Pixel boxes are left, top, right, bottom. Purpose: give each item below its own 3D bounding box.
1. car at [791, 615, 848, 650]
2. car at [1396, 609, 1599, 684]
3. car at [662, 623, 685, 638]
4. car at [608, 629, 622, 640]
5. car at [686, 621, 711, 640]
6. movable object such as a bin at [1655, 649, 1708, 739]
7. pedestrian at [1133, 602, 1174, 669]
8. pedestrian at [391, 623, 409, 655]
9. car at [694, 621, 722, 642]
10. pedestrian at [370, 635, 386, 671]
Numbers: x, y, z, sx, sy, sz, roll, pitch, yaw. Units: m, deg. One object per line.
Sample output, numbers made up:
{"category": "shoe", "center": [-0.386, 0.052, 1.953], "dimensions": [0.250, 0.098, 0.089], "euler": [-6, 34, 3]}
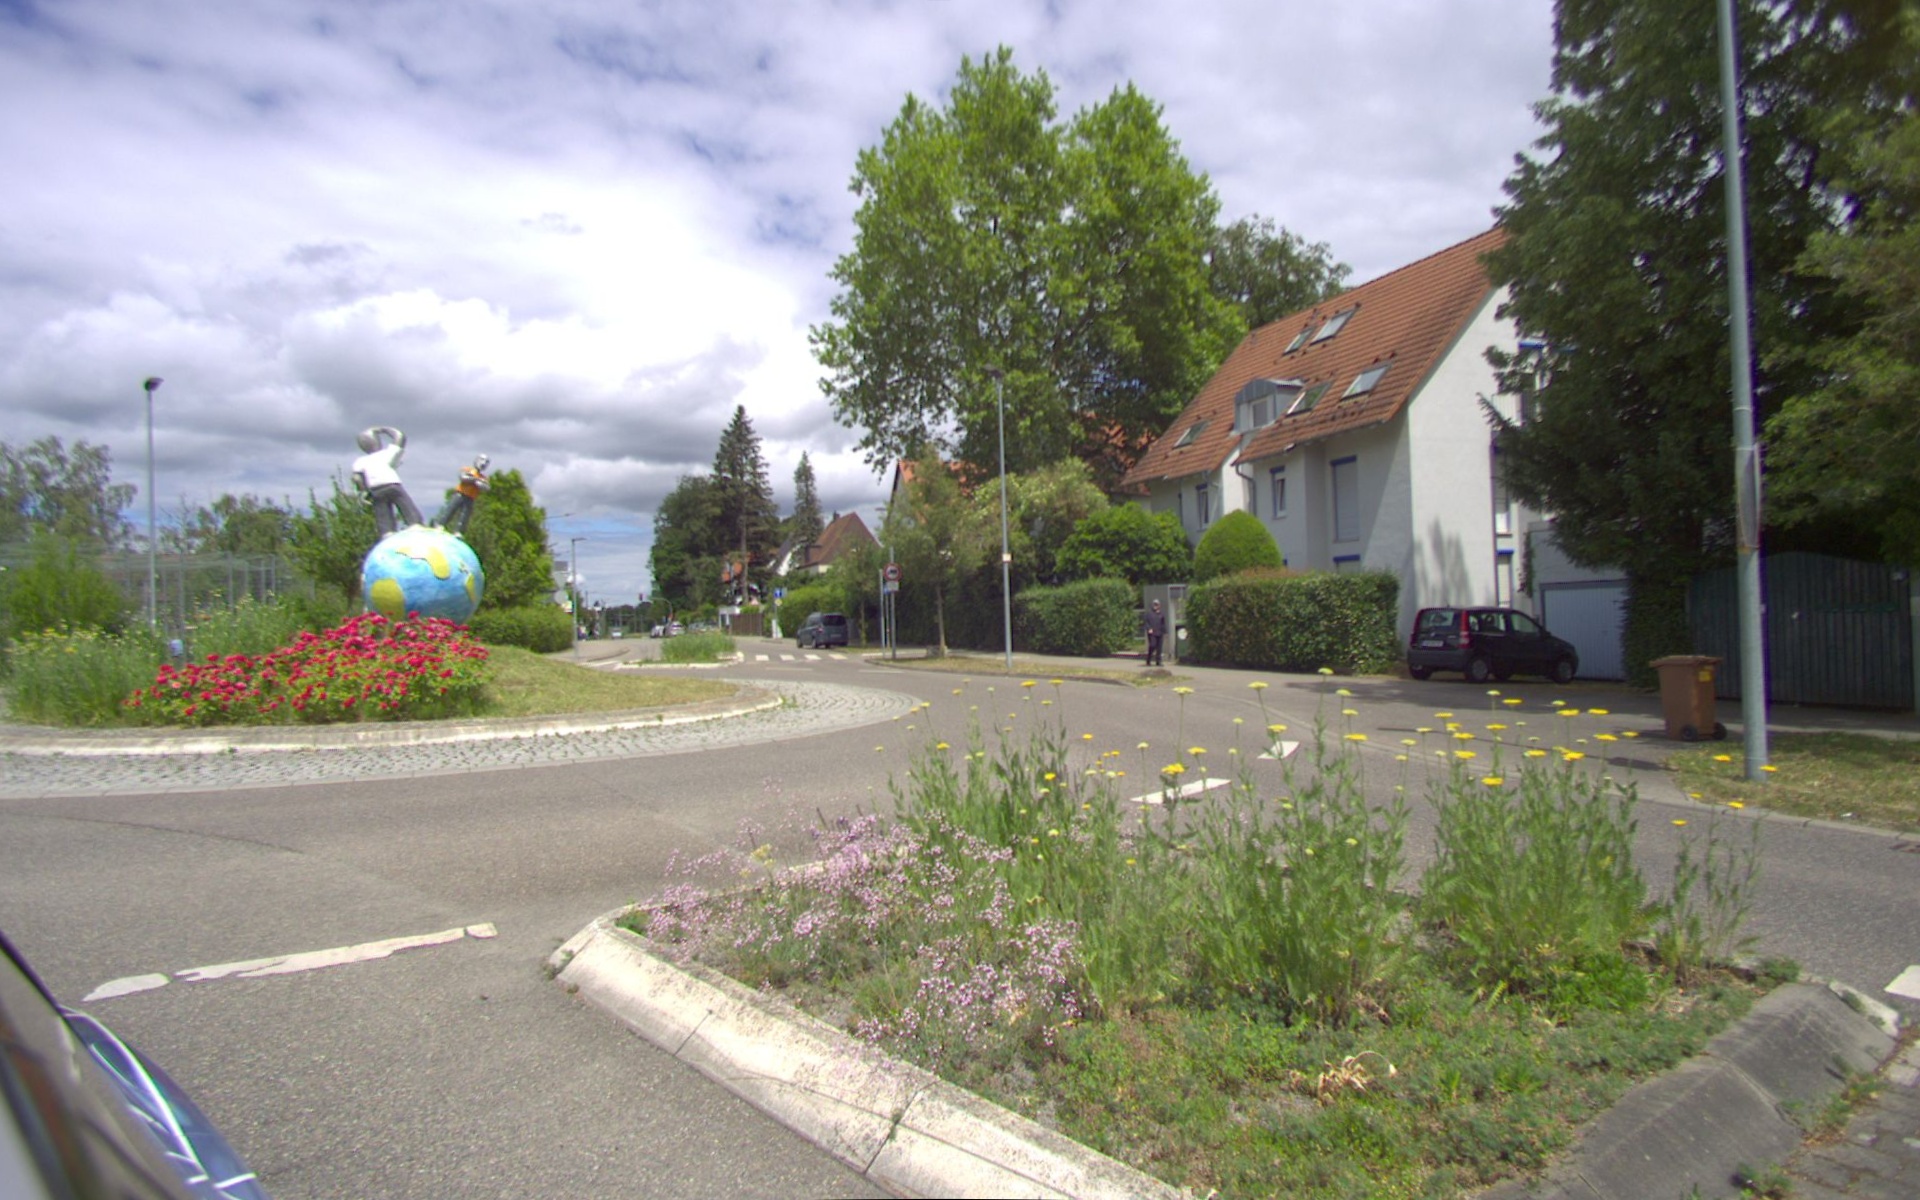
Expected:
{"category": "car", "center": [-7.020, 1.578, 50.180], "dimensions": [1.652, 1.674, 4.013], "euler": [-1, -1, -25]}
{"category": "car", "center": [10.783, 0.930, 20.337], "dimensions": [3.517, 1.408, 1.671], "euler": [2, -1, -20]}
{"category": "car", "center": [-32.782, 3.476, 115.712], "dimensions": [1.965, 1.719, 4.013], "euler": [0, -1, -25]}
{"category": "car", "center": [-55.182, 5.489, 161.987], "dimensions": [1.965, 1.719, 4.013], "euler": [0, -1, -20]}
{"category": "car", "center": [-23.680, 2.771, 91.675], "dimensions": [1.757, 1.589, 4.013], "euler": [-2, 0, -20]}
{"category": "movable object such as a bin", "center": [7.907, 1.018, 11.091], "dimensions": [0.412, 0.942, 0.435], "euler": [-2, -2, 41]}
{"category": "pedestrian", "center": [5.068, 0.927, 26.535], "dimensions": [0.733, 1.704, 0.697], "euler": [-2, 0, -19]}
{"category": "pedestrian", "center": [-28.445, 1.982, 51.428], "dimensions": [0.751, 1.569, 0.604], "euler": [0, -1, -22]}
{"category": "car", "center": [-21.581, 2.677, 86.582], "dimensions": [1.831, 1.589, 4.013], "euler": [-2, 0, -20]}
{"category": "pedestrian", "center": [-29.073, 2.643, 50.566], "dimensions": [0.597, 1.710, 0.569], "euler": [-2, 0, -25]}
